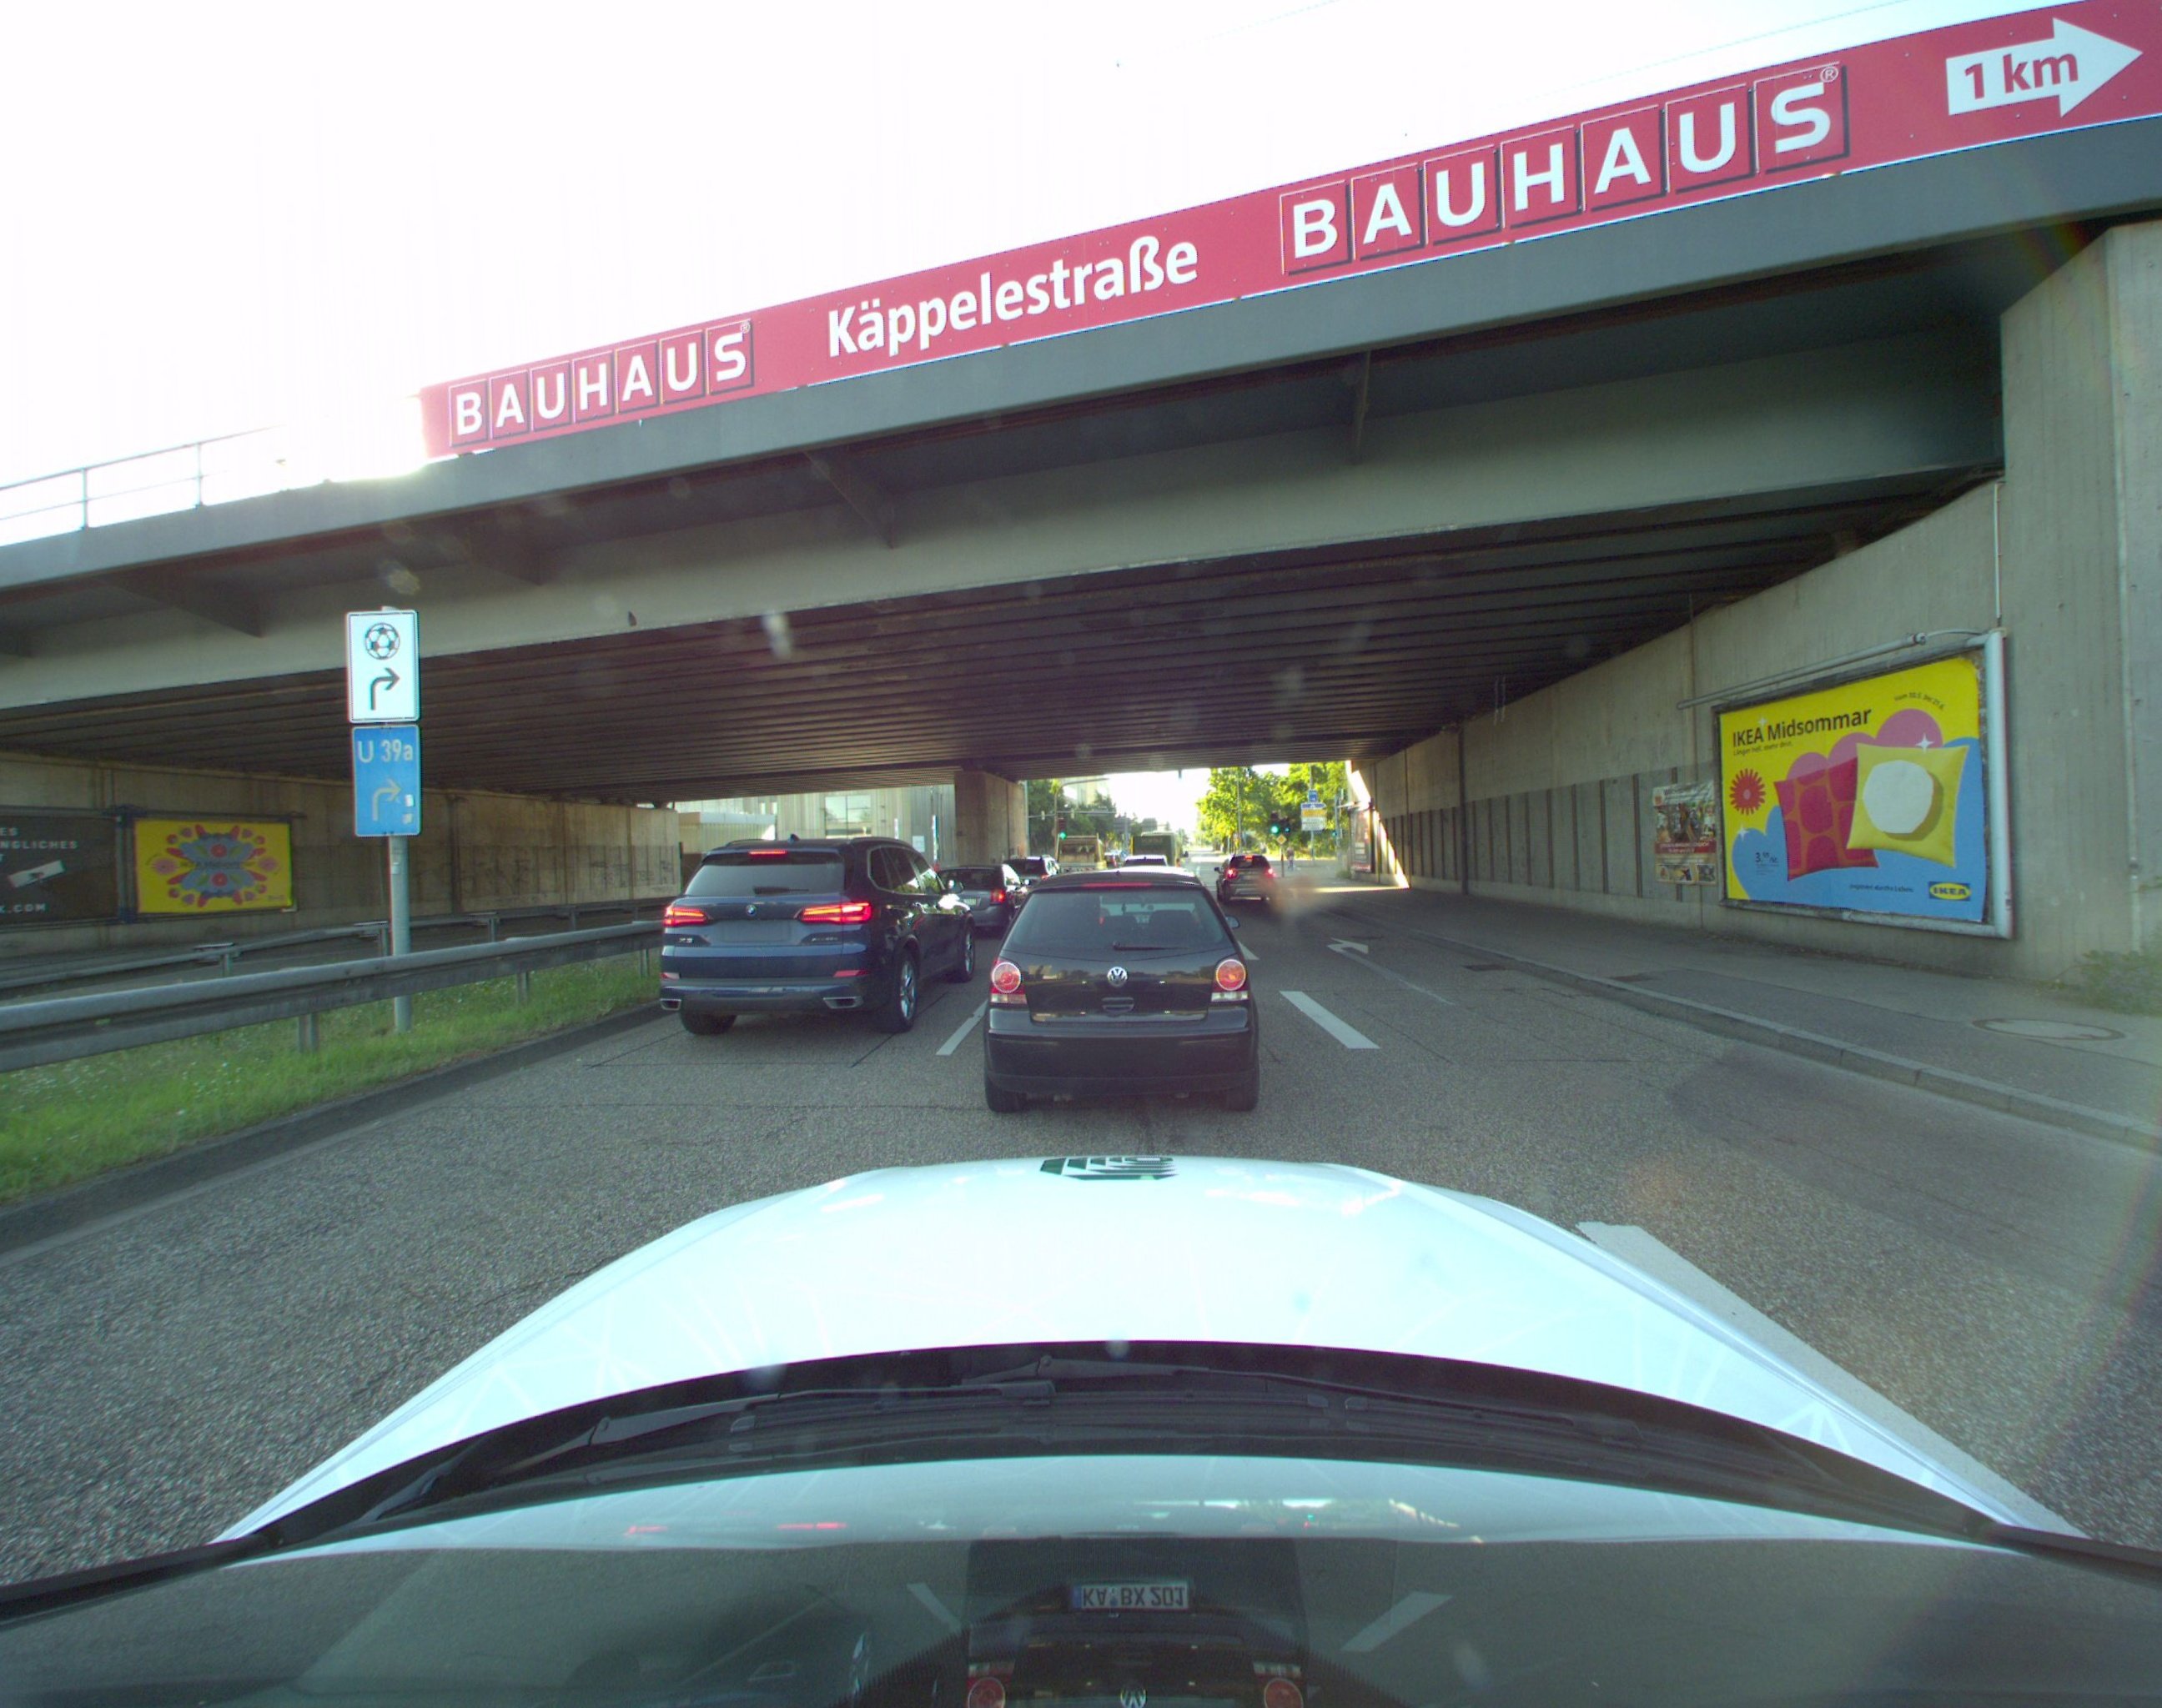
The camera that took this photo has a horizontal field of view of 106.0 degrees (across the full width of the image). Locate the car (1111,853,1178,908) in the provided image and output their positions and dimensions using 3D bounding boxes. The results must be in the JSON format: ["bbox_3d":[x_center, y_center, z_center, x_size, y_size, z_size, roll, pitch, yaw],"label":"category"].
[{"bbox_3d":[2.054,0.778,25.446,1.786,1.559,4.009,-1,-1,8],"label":"car"}]

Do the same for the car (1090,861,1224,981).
[{"bbox_3d":[1.010,0.809,11.626,1.572,1.413,4.065,0,-1,3],"label":"car"}]

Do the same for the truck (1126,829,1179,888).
[{"bbox_3d":[3.099,0.198,34.544,1.984,2.315,4.009,-1,-1,8],"label":"truck"}]

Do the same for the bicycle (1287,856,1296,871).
[{"bbox_3d":[13.877,0.631,53.801,0.435,0.914,1.029,-3,-1,9],"label":"bicycle"}]

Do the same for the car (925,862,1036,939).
[{"bbox_3d":[-1.957,0.875,16.859,1.609,1.410,3.686,0,-1,4],"label":"car"}]

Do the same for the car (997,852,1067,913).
[{"bbox_3d":[-1.390,0.797,24.364,1.609,1.679,3.687,0,-1,4],"label":"car"}]

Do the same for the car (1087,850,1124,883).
[{"bbox_3d":[1.382,0.668,44.428,1.608,1.679,3.691,0,-1,7],"label":"car"}]

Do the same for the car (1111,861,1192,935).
[{"bbox_3d":[1.489,0.878,17.914,1.572,1.413,4.065,0,-1,3],"label":"car"}]

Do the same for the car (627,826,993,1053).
[{"bbox_3d":[-2.350,0.674,8.535,1.984,1.734,4.538,0,-1,5],"label":"car"}]

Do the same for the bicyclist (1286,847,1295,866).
[{"bbox_3d":[13.854,0.173,53.856,0.425,1.233,0.461,-2,-1,8],"label":"bicyclist"}]

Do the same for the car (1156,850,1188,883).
[{"bbox_3d":[4.887,0.633,43.369,1.608,1.679,3.691,0,-1,7],"label":"car"}]

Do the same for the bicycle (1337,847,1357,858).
[{"bbox_3d":[25.104,-0.161,76.792,1.647,0.991,0.581,-3,2,25],"label":"bicycle"}]

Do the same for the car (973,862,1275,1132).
[{"bbox_3d":[0.411,0.779,6.206,1.608,1.410,3.689,0,-1,6],"label":"car"}]

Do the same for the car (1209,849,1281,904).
[{"bbox_3d":[5.238,0.684,26.507,1.729,1.630,4.065,0,-1,3],"label":"car"}]

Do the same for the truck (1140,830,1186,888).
[{"bbox_3d":[4.006,0.249,39.351,1.984,2.668,4.009,-1,-1,8],"label":"truck"}]

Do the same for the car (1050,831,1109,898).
[{"bbox_3d":[0.034,0.415,33.986,2.127,2.576,5.092,0,-1,4],"label":"car"}]
